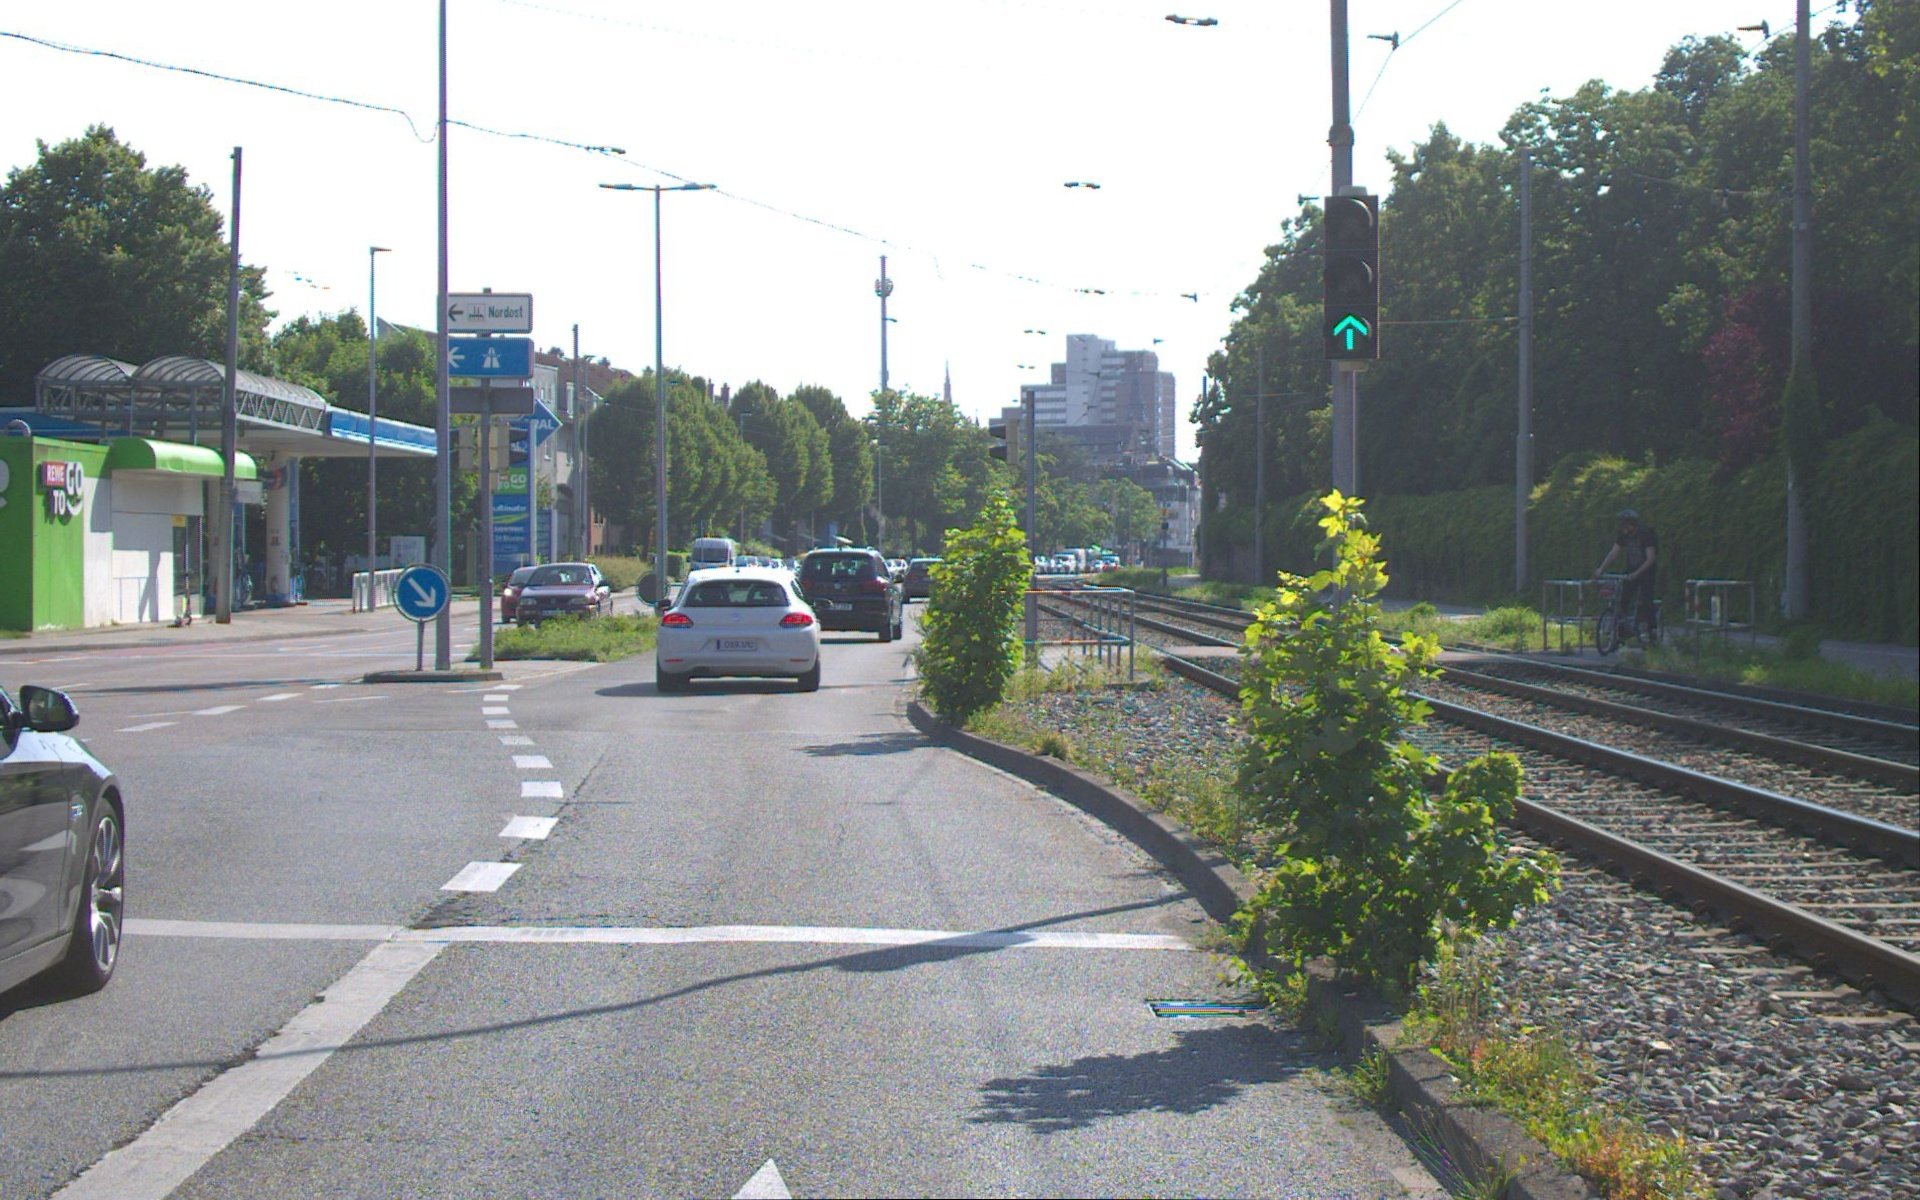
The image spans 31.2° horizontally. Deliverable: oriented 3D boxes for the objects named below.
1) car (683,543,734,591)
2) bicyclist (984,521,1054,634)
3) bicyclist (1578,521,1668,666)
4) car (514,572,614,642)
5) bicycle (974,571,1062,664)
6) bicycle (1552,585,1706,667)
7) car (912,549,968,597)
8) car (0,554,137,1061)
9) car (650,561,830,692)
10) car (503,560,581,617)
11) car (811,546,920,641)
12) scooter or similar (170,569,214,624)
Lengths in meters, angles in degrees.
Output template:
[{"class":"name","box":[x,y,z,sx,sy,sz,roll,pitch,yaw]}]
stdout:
[{"class":"car","box":[-12.628,-1.680,173.080,1.994,2.368,4.538,0,1,3]},{"class":"bicyclist","box":[0.749,-0.288,43.471,0.644,1.411,1.012,0,1,16]},{"class":"bicyclist","box":[9.194,-0.093,47.661,1.034,1.987,0.946,0,1,24]},{"class":"car","box":[-8.265,0.122,71.989,1.653,1.390,4.134,0,1,0]},{"class":"bicycle","box":[0.742,0.214,43.478,0.644,1.150,1.935,1,0,15]},{"class":"bicycle","box":[9.272,0.349,47.631,1.923,1.111,0.946,0,1,24]},{"class":"car","box":[-0.641,-0.884,111.190,1.749,1.480,3.601,2,1,0]},{"class":"car","box":[-3.677,0.597,9.927,1.760,1.480,4.646,2,1,-4]},{"class":"car","box":[-2.457,0.267,39.139,1.781,1.351,3.601,2,1,0]},{"class":"car","box":[-10.706,-0.310,88.218,1.574,1.412,3.333,0,1,1]},{"class":"car","box":[-1.706,-0.136,60.918,1.724,1.587,3.602,2,1,-4]},{"class":"scooter or similar","box":[-17.028,-0.082,76.264,0.532,1.170,1.310,5,1,3]}]
